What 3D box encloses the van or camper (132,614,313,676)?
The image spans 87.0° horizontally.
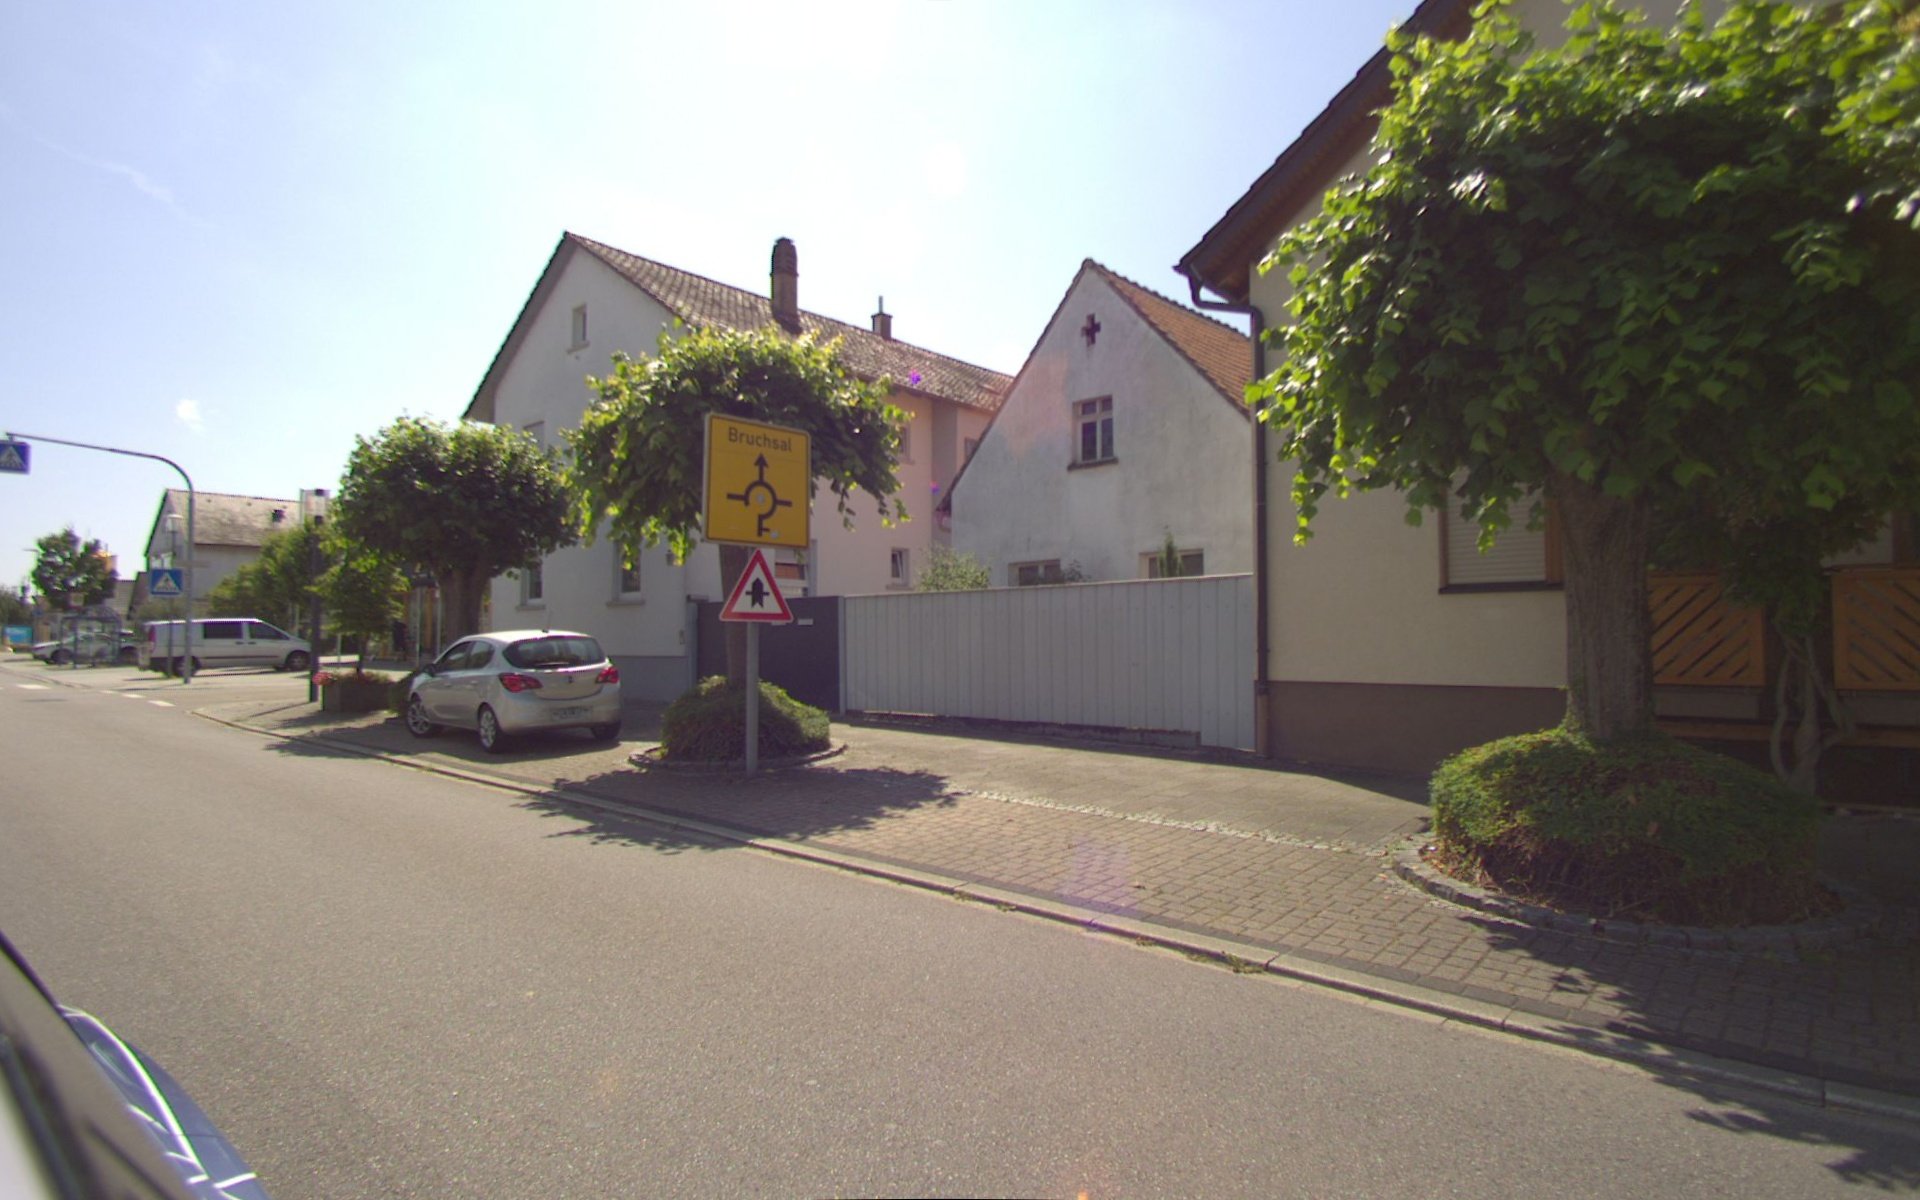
[{"bbox_3d":[-25.083,1.488,34.564,1.999,1.877,4.691,-3,-2,41],"label":"van or camper"}]

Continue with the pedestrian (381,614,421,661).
[{"bbox_3d":[-21.637,1.455,39.181,0.922,1.788,1.069,0,-2,5],"label":"pedestrian"}]

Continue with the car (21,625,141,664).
[{"bbox_3d":[-43.614,2.162,50.276,1.942,1.732,4.201,-1,0,36],"label":"car"}]

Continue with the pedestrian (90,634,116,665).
[{"bbox_3d":[-38.104,2.182,44.998,0.607,1.369,0.776,-2,-2,42],"label":"pedestrian"}]

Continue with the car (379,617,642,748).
[{"bbox_3d":[-6.288,1.020,13.954,4.131,1.494,1.805,-1,-1,42],"label":"car"}]
